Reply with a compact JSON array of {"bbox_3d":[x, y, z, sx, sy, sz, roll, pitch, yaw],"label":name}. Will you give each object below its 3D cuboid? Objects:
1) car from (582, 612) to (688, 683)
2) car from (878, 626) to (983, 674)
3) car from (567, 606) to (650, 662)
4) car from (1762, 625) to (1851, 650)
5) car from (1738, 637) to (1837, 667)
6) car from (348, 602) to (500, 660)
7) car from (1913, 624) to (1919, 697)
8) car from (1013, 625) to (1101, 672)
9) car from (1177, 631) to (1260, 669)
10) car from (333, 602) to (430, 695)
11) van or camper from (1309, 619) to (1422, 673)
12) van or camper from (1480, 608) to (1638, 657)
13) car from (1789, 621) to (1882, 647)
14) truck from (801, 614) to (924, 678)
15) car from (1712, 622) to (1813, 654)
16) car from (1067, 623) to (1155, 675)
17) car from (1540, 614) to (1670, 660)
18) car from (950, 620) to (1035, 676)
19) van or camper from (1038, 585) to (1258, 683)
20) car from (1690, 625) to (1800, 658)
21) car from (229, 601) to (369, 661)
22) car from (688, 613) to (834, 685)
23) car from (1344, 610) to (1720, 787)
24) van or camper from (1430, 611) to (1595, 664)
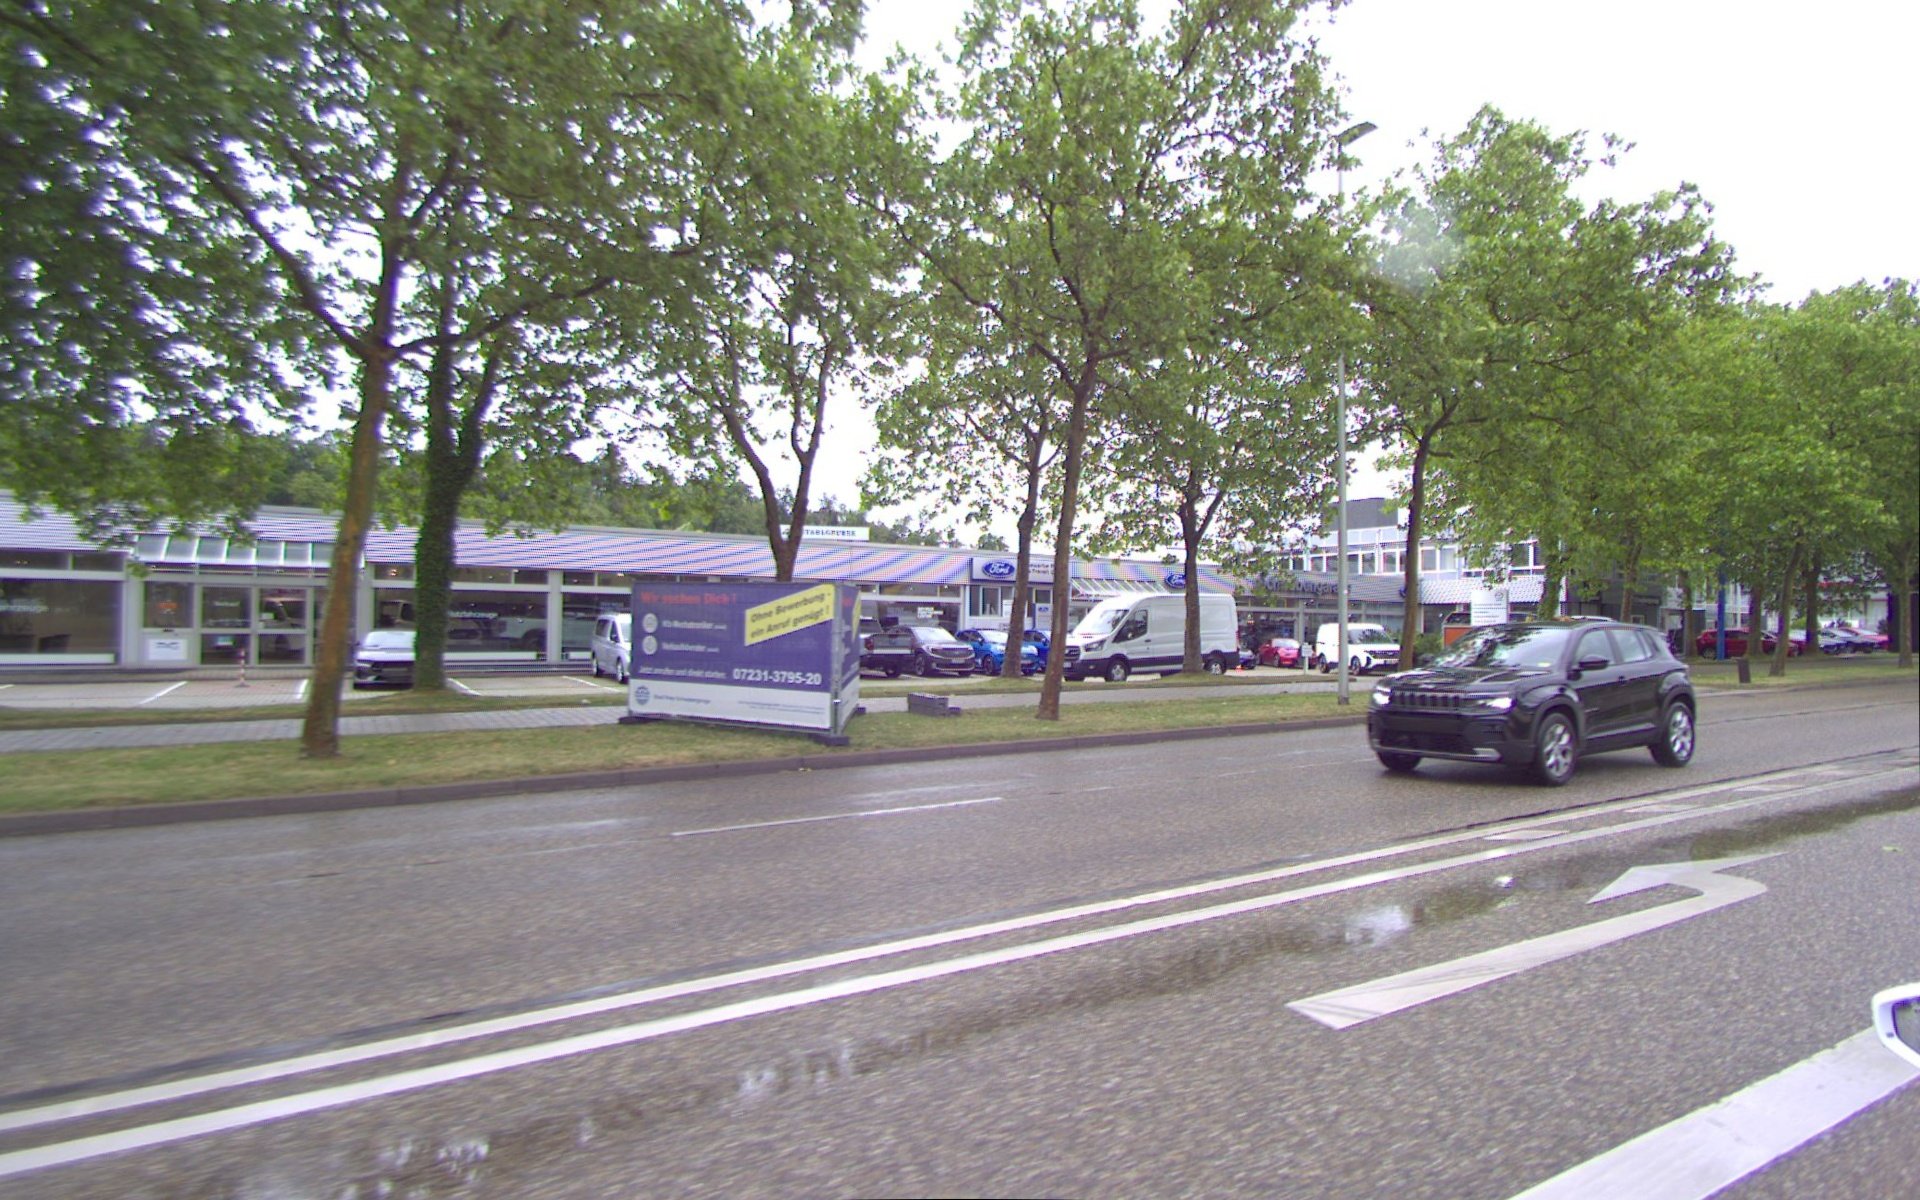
[{"bbox_3d":[-8.998,1.261,27.635,1.862,1.790,3.965,1,-1,-32],"label":"car"},{"bbox_3d":[-1.055,1.610,33.323,2.008,1.480,3.973,1,-1,-27],"label":"car"},{"bbox_3d":[-11.971,1.120,34.055,1.844,1.790,3.966,1,-1,-32],"label":"car"},{"bbox_3d":[50.252,2.190,59.680,1.673,1.409,3.716,0,-1,-35],"label":"car"},{"bbox_3d":[46.900,2.976,57.042,4.164,1.617,1.993,-3,-2,37],"label":"car"},{"bbox_3d":[-18.693,1.025,34.962,5.257,1.862,2.385,0,-1,33],"label":"car"},{"bbox_3d":[21.721,1.235,20.782,4.128,1.481,1.660,1,-2,-28],"label":"car"},{"bbox_3d":[3.385,1.677,35.705,1.834,1.540,3.987,0,-1,-16],"label":"car"},{"bbox_3d":[10.800,2.048,42.222,1.574,1.487,3.892,0,-1,-18],"label":"car"},{"bbox_3d":[-13.976,1.104,24.185,1.862,2.040,3.965,1,-1,-32],"label":"car"},{"bbox_3d":[14.348,1.593,35.862,1.804,1.808,4.644,0,-1,-6],"label":"van or camper"},{"bbox_3d":[24.077,1.314,40.491,5.290,1.792,2.098,-1,-5,37],"label":"van or camper"},{"bbox_3d":[52.974,2.055,60.845,1.860,1.508,3.954,0,-1,-35],"label":"car"},{"bbox_3d":[-3.115,1.403,31.555,1.983,1.862,3.955,1,-2,-39],"label":"truck"},{"bbox_3d":[43.943,2.122,55.133,4.164,1.674,2.006,-2,-3,37],"label":"car"},{"bbox_3d":[5.501,1.761,37.126,1.833,1.790,3.989,0,-1,-14],"label":"car"},{"bbox_3d":[26.869,1.505,41.898,4.397,1.840,1.992,-1,-2,37],"label":"car"},{"bbox_3d":[1.052,1.593,34.593,1.834,1.790,3.988,0,-1,-15],"label":"car"},{"bbox_3d":[5.354,0.913,28.212,6.326,2.503,1.984,1,0,-31],"label":"van or camper"},{"bbox_3d":[41.402,2.158,53.077,4.497,1.617,1.992,0,-1,38],"label":"car"},{"bbox_3d":[-21.589,0.972,32.852,3.810,1.767,1.912,2,0,20],"label":"car"},{"bbox_3d":[-5.973,1.366,29.582,2.390,1.928,5.344,1,-1,-33],"label":"car"},{"bbox_3d":[6.036,0.929,10.542,3.813,1.551,1.755,1,-3,-31],"label":"car"},{"bbox_3d":[20.674,1.371,37.664,5.211,1.845,2.260,-1,-1,34],"label":"van or camper"}]
